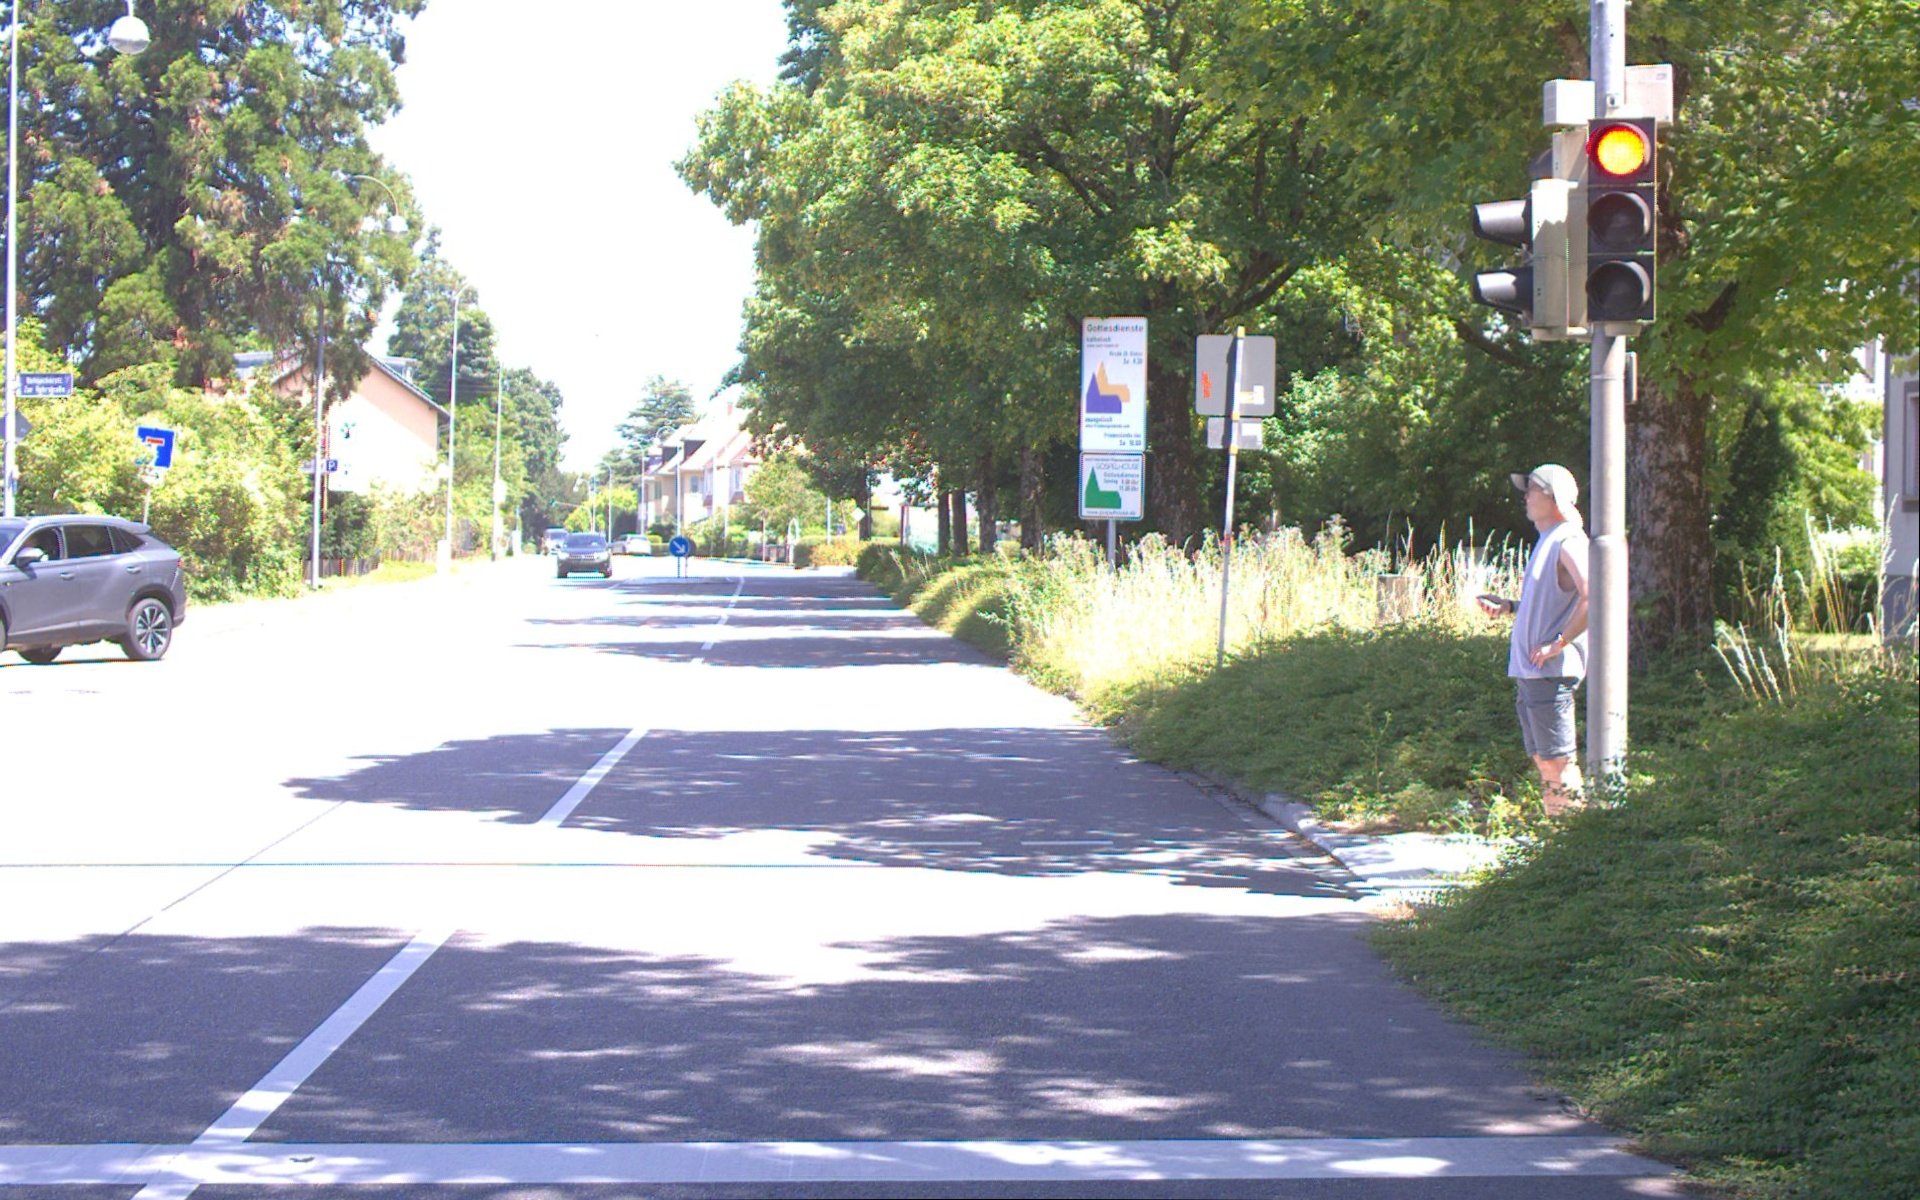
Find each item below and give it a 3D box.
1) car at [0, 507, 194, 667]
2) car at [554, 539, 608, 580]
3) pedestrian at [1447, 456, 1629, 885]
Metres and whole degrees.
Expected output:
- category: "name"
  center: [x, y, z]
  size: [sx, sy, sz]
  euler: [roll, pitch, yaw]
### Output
- category: "car"
  center: [-10.654, -0.168, 37.997]
  size: [1.882, 1.712, 4.303]
  euler: [1, 1, 29]
- category: "car"
  center: [-12.573, -1.343, 114.260]
  size: [1.431, 1.318, 3.355]
  euler: [1, 1, 0]
- category: "pedestrian"
  center: [2.401, 0.286, 14.327]
  size: [0.560, 1.745, 0.615]
  euler: [1, 1, -8]
